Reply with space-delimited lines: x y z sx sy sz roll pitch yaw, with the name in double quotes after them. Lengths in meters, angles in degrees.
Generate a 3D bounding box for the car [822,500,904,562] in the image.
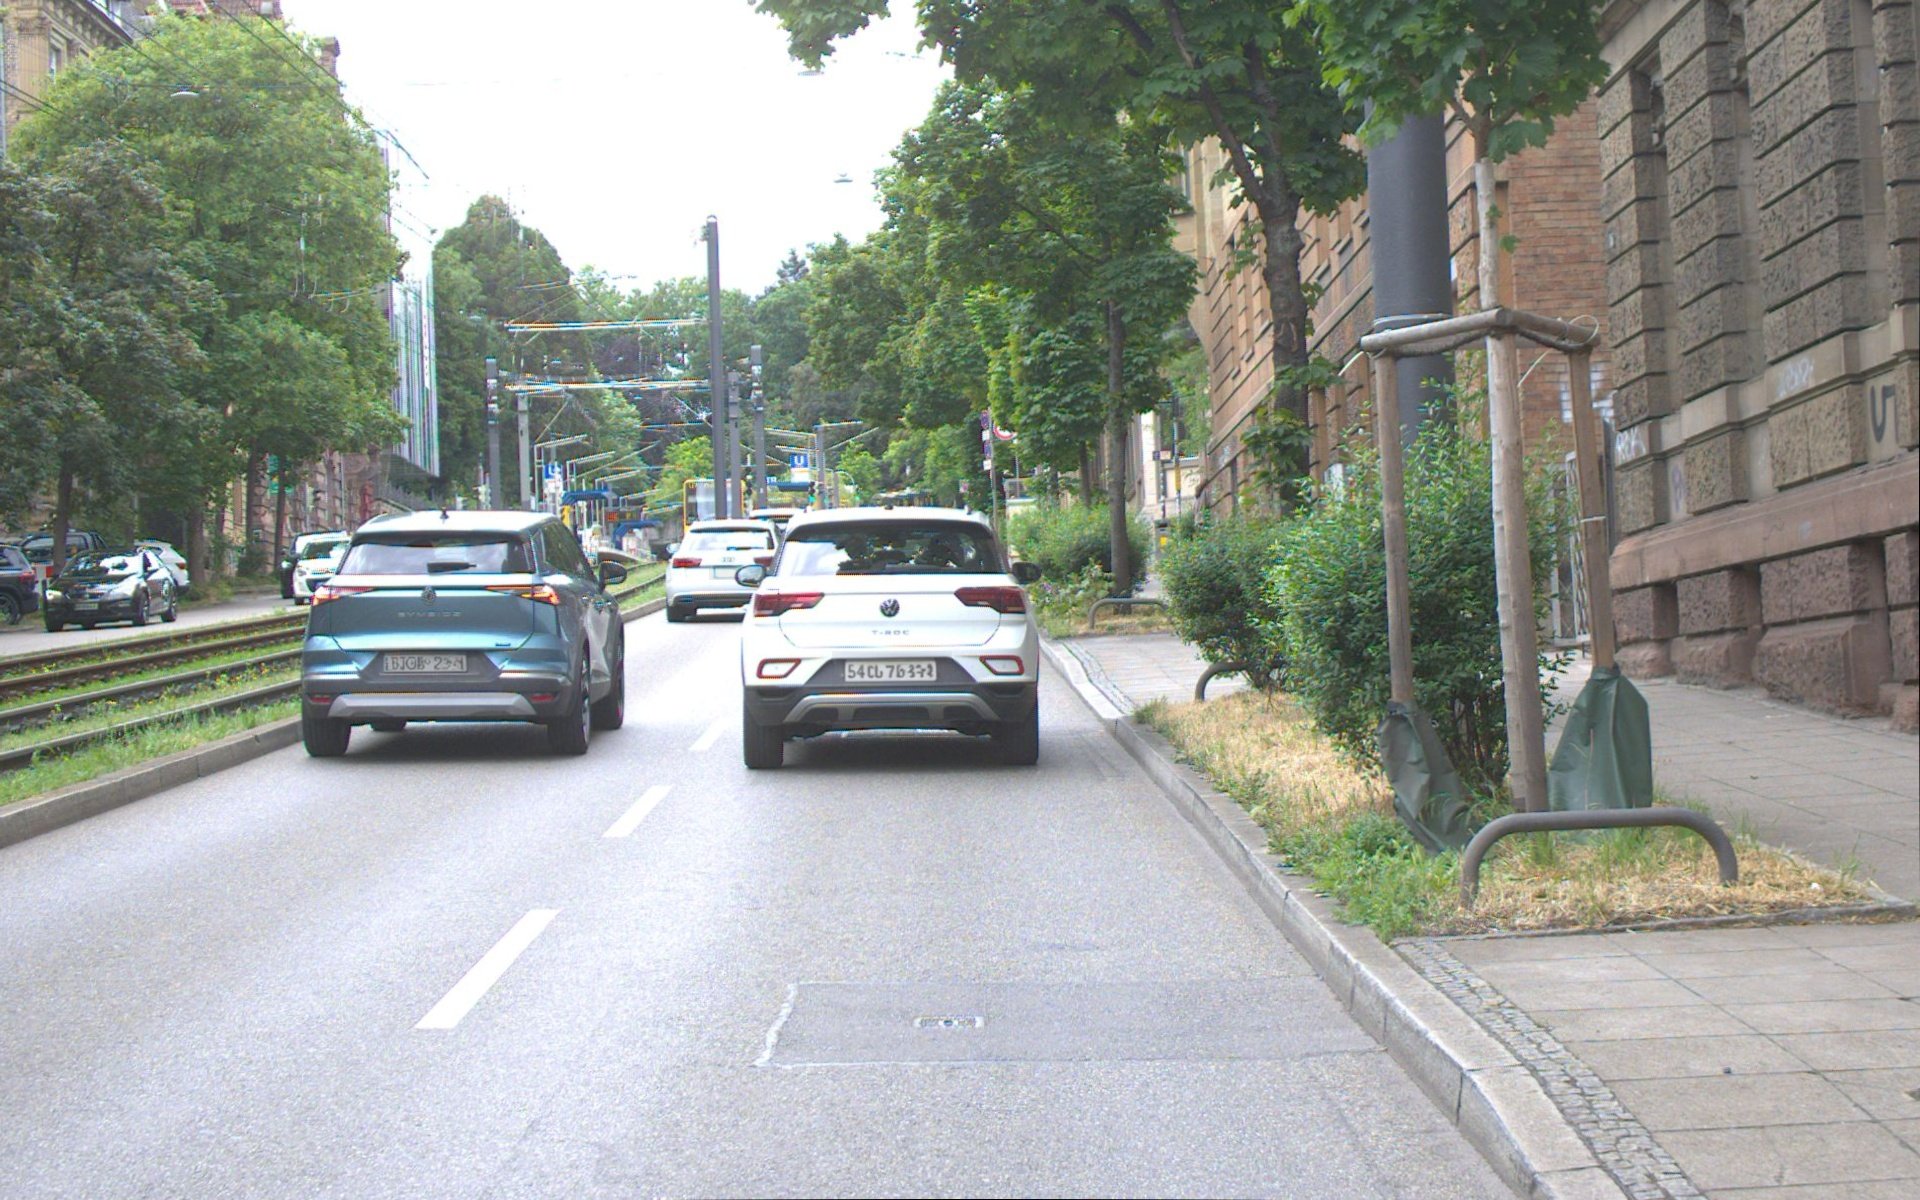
-2.507 -1.790 89.082 2.068 1.541 4.194 0 1 -1 "car"

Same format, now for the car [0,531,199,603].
-20.229 -0.778 79.863 4.593 1.612 1.936 -1 1 -34 "car"

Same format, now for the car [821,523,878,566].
-4.083 -2.074 127.106 2.068 1.541 4.194 0 1 -2 "car"

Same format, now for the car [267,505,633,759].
-3.314 0.149 23.085 1.835 1.541 4.194 0 1 0 "car"

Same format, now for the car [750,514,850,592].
-3.232 -0.970 70.129 1.835 1.541 4.194 0 1 0 "car"

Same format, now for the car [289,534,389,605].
-13.774 -0.693 76.391 1.588 1.430 3.413 -3 2 -1 "car"

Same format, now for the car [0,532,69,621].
-19.375 -0.444 64.846 4.593 1.676 1.936 -1 1 -33 "car"

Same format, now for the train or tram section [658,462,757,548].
-10.518 -3.950 144.477 2.996 3.337 13.439 -2 1 0 "train or tram section"

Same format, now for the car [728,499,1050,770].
-0.455 0.153 21.765 1.835 1.541 4.194 0 1 -1 "car"

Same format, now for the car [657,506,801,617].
-3.330 -0.588 50.215 1.835 1.541 4.194 0 1 0 "car"

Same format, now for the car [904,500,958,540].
-1.117 -3.111 134.045 2.068 1.541 4.194 0 1 0 "car"

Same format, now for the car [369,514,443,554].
-20.305 -2.437 126.206 1.993 1.398 4.000 -2 1 1 "car"
